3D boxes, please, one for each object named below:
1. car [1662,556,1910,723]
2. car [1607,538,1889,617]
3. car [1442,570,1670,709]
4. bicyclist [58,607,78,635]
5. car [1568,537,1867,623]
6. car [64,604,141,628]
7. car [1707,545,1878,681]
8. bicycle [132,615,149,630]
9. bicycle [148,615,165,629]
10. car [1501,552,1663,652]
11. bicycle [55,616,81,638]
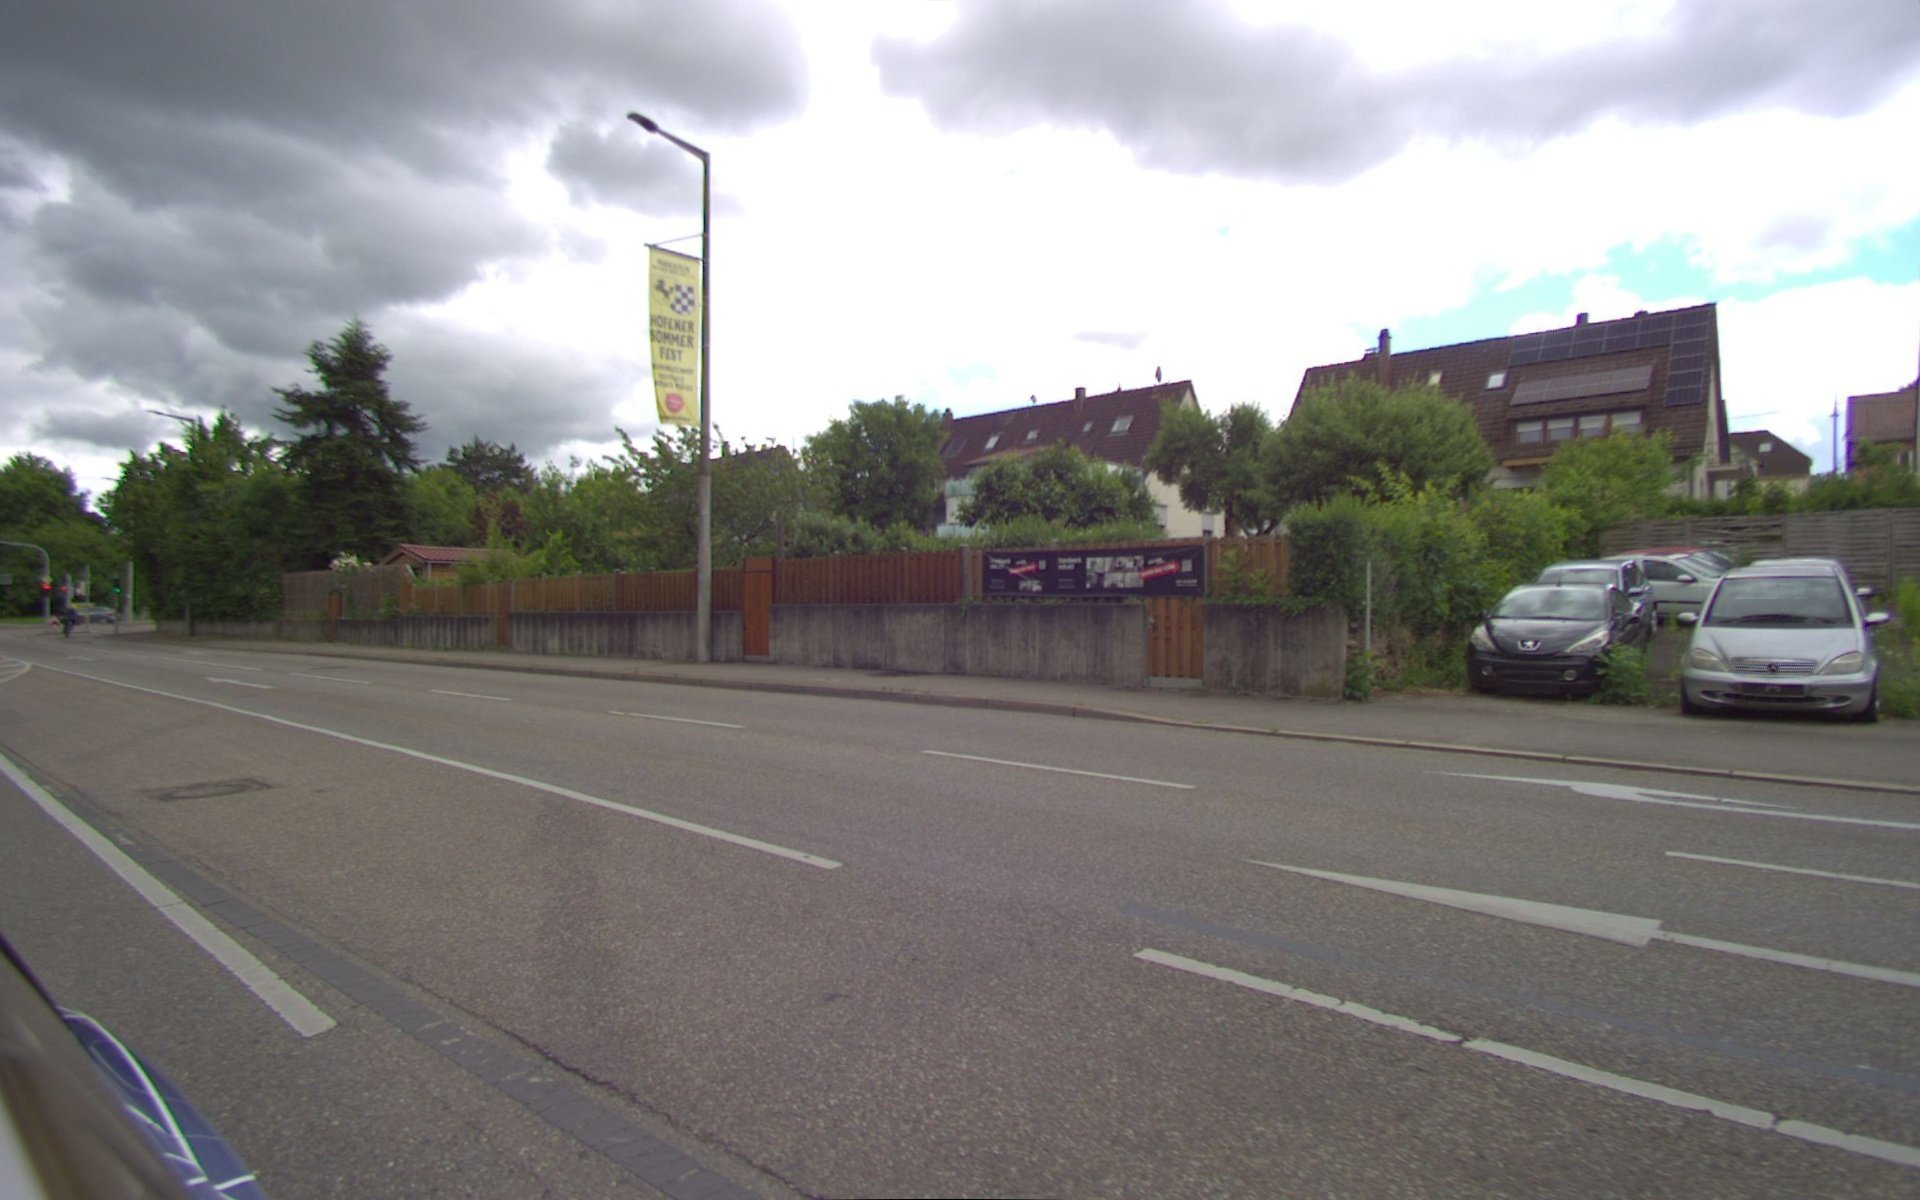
[{"bbox_3d":[9.842,0.326,12.020,2.000,1.629,3.945,0,2,42],"label":"car"},{"bbox_3d":[16.813,-0.466,21.823,1.967,1.522,4.412,-2,1,-34],"label":"car"},{"bbox_3d":[8.409,0.430,14.122,2.000,1.615,3.945,0,2,42],"label":"car"},{"bbox_3d":[-50.366,1.210,57.150,0.977,1.546,0.636,-1,1,37],"label":"bicyclist"},{"bbox_3d":[14.889,-0.391,20.133,1.900,1.508,4.412,-2,1,-36],"label":"car"},{"bbox_3d":[-74.337,1.340,87.787,4.666,1.866,2.006,-1,1,-16],"label":"car"},{"bbox_3d":[13.160,0.119,15.932,1.881,1.864,3.945,0,2,42],"label":"car"},{"bbox_3d":[-76.517,2.079,94.495,0.536,1.262,1.941,-1,1,-16],"label":"bicycle"},{"bbox_3d":[-75.534,2.045,95.184,0.536,1.262,1.941,-1,1,-16],"label":"bicycle"},{"bbox_3d":[11.110,-0.025,17.949,1.775,1.581,3.945,0,2,42],"label":"car"},{"bbox_3d":[-50.416,1.525,57.198,2.144,1.154,0.636,-1,1,37],"label":"bicycle"}]
